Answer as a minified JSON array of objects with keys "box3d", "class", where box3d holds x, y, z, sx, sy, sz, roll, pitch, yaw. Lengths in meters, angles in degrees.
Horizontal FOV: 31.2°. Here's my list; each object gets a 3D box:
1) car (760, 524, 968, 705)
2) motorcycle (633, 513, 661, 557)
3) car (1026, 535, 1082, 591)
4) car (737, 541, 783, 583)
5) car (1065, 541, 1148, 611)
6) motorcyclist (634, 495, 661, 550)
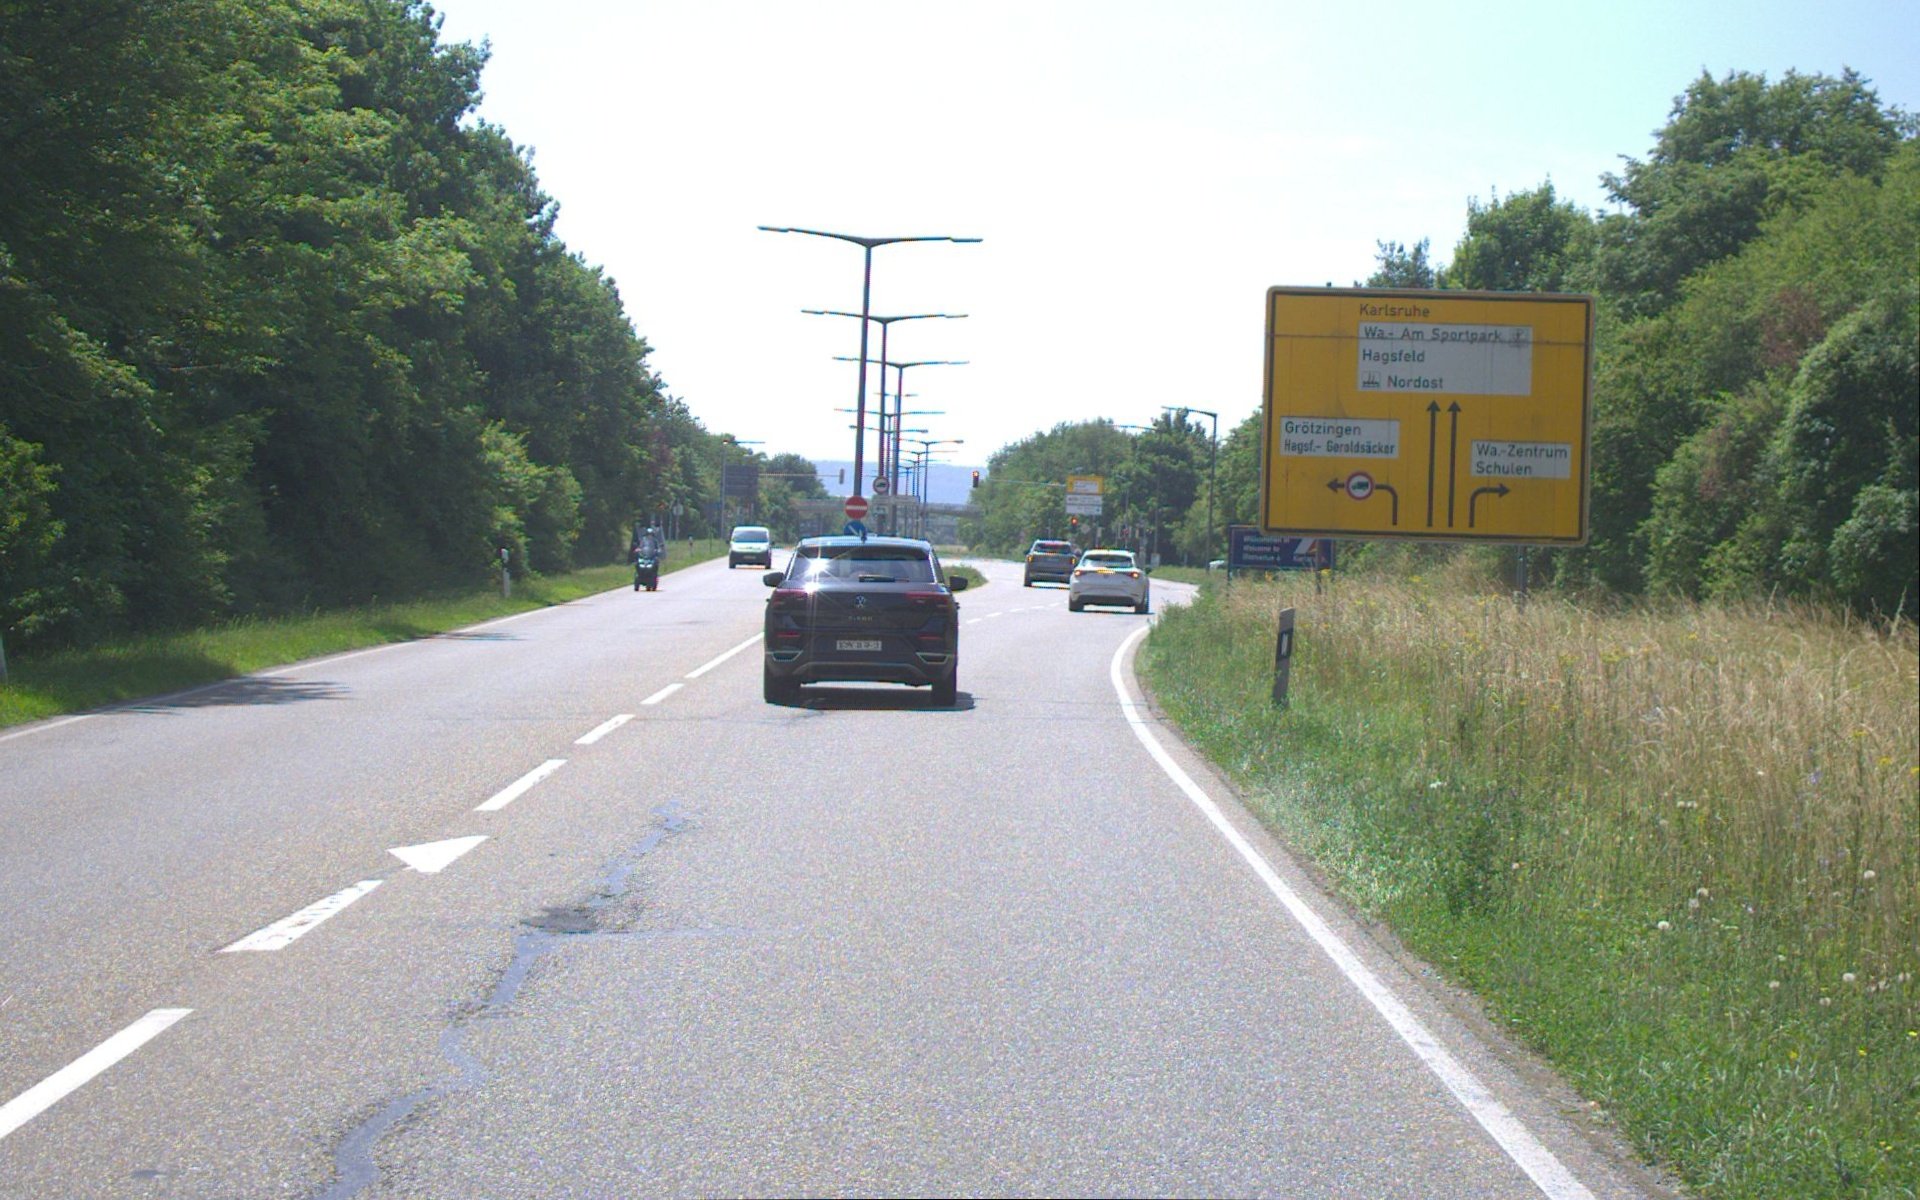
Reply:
[{"box3d":[-0.965,0.099,32.441,1.755,1.551,4.001,2,1,-4],"class":"car"},{"box3d":[-8.499,-1.759,93.482,0.670,1.170,2.232,1,1,-3],"class":"motorcycle"},{"box3d":[3.363,-1.343,123.862,1.755,1.922,4.000,3,1,-1],"class":"car"},{"box3d":[-8.232,-1.577,141.775,1.731,1.682,4.095,0,1,-2],"class":"car"},{"box3d":[3.391,-0.572,80.178,1.797,1.577,4.000,0,1,0],"class":"car"},{"box3d":[-8.481,-2.098,93.290,0.670,1.470,0.814,1,1,-4],"class":"motorcyclist"}]
